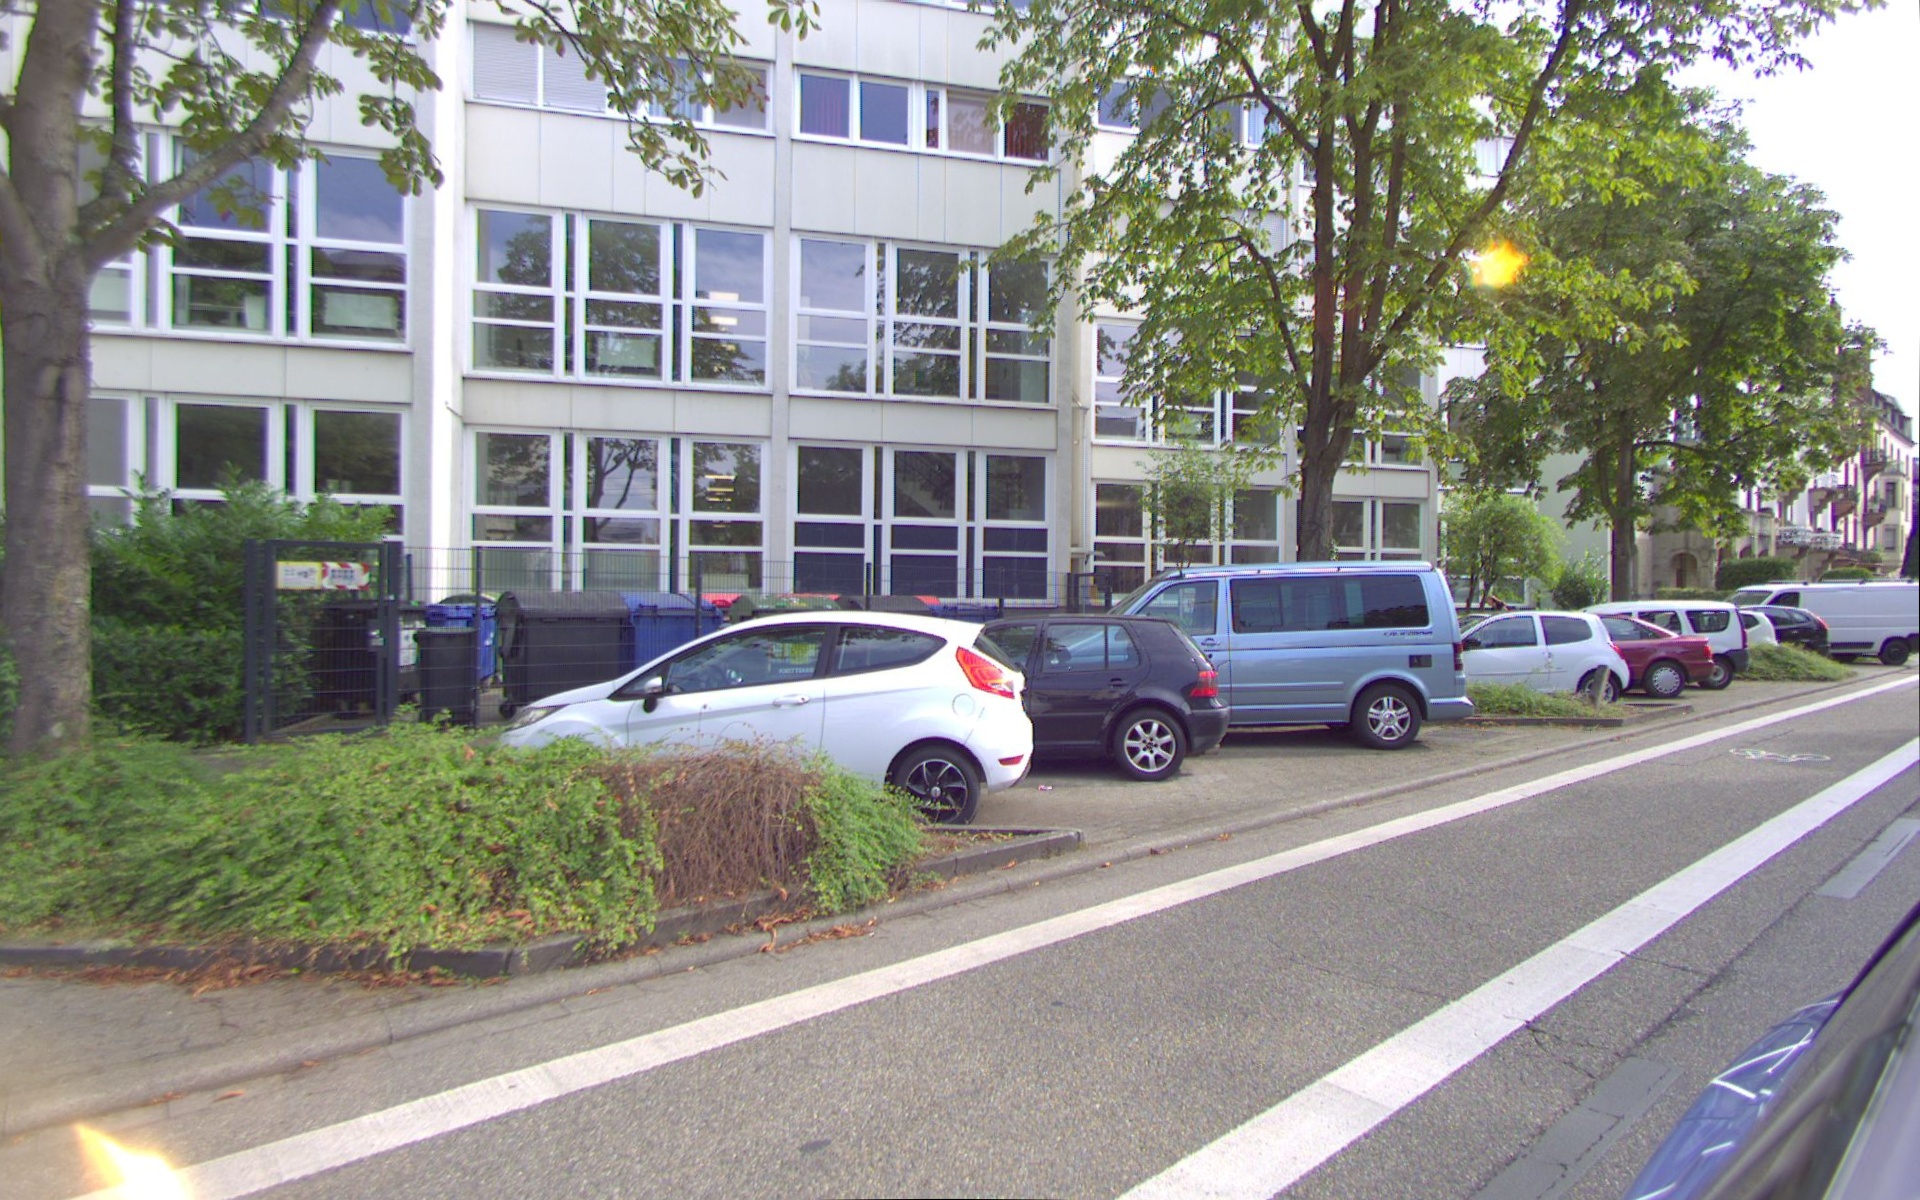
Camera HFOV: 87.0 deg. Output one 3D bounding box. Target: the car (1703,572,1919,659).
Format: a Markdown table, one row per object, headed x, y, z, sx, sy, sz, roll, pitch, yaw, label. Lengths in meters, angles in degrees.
| x | y | z | sx | sy | sz | roll | pitch | yaw | label |
| --- | --- | --- | --- | --- | --- | --- | --- | --- | --- |
| 24.173 | 0.411 | 28.299 | 4.875 | 2.319 | 2.380 | 0 | 0 | 8 | car |

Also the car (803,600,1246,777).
| x | y | z | sx | sy | sz | roll | pitch | yaw | label |
| --- | --- | --- | --- | --- | --- | --- | --- | --- | --- |
| 0.564 | 0.744 | 9.453 | 3.759 | 1.478 | 1.675 | 0 | 0 | 4 | car |

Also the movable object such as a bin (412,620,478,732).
| x | y | z | sx | sy | sz | roll | pitch | yaw | label |
| --- | --- | --- | --- | --- | --- | --- | --- | --- | --- |
| -5.388 | 0.770 | 10.578 | 0.561 | 1.117 | 0.653 | 0 | -1 | -31 | movable object such as a bin |

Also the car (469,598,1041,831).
| x | y | z | sx | sy | sz | roll | pitch | yaw | label |
| --- | --- | --- | --- | --- | --- | --- | --- | --- | --- |
| -1.321 | 0.731 | 7.371 | 3.759 | 1.478 | 1.639 | 0 | 0 | 4 | car |

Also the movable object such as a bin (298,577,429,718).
| x | y | z | sx | sy | sz | roll | pitch | yaw | label |
| --- | --- | --- | --- | --- | --- | --- | --- | --- | --- |
| -6.924 | 0.526 | 11.827 | 1.056 | 1.542 | 1.121 | 0 | -1 | -16 | movable object such as a bin |

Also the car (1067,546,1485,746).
| x | y | z | sx | sy | sz | roll | pitch | yaw | label |
| --- | --- | --- | --- | --- | --- | --- | --- | --- | --- |
| 3.352 | 0.473 | 11.476 | 4.201 | 2.040 | 1.829 | 0 | 0 | 6 | car |

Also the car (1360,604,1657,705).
| x | y | z | sx | sy | sz | roll | pitch | yaw | label |
| --- | --- | --- | --- | --- | --- | --- | --- | --- | --- |
| 8.352 | 0.794 | 15.695 | 3.651 | 1.451 | 1.687 | 0 | 0 | 6 | car |

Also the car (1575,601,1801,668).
| x | y | z | sx | sy | sz | roll | pitch | yaw | label |
| --- | --- | --- | --- | --- | --- | --- | --- | --- | --- |
| 17.215 | 0.786 | 24.089 | 4.020 | 1.530 | 1.687 | 0 | 0 | 6 | car |

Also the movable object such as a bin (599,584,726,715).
| x | y | z | sx | sy | sz | roll | pitch | yaw | label |
| --- | --- | --- | --- | --- | --- | --- | --- | --- | --- |
| -3.696 | 0.578 | 12.562 | 1.192 | 1.527 | 1.071 | 1 | -1 | -39 | movable object such as a bin |

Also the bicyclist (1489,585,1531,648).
| x | y | z | sx | sy | sz | roll | pitch | yaw | label |
| --- | --- | --- | --- | --- | --- | --- | --- | --- | --- |
| 13.539 | 0.402 | 24.913 | 0.787 | 1.488 | 0.648 | 1 | 2 | -42 | bicyclist |

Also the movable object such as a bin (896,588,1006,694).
| x | y | z | sx | sy | sz | roll | pitch | yaw | label |
| --- | --- | --- | --- | --- | --- | --- | --- | --- | --- |
| -0.134 | 0.594 | 15.366 | 1.299 | 1.527 | 1.071 | 1 | -1 | -39 | movable object such as a bin |

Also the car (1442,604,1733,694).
| x | y | z | sx | sy | sz | roll | pitch | yaw | label |
| --- | --- | --- | --- | --- | --- | --- | --- | --- | --- |
| 10.729 | 0.805 | 17.564 | 3.909 | 1.451 | 1.685 | 0 | 0 | 8 | car |

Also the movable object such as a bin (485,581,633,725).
| x | y | z | sx | sy | sz | roll | pitch | yaw | label |
| --- | --- | --- | --- | --- | --- | --- | --- | --- | --- |
| -4.590 | 0.572 | 11.590 | 1.310 | 1.527 | 1.071 | 1 | -1 | -39 | movable object such as a bin |

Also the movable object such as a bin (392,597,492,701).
| x | y | z | sx | sy | sz | roll | pitch | yaw | label |
| --- | --- | --- | --- | --- | --- | --- | --- | --- | --- |
| -7.208 | 0.651 | 14.142 | 1.056 | 1.385 | 1.037 | 0 | -1 | -16 | movable object such as a bin |

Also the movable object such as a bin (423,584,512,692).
| x | y | z | sx | sy | sz | roll | pitch | yaw | label |
| --- | --- | --- | --- | --- | --- | --- | --- | --- | --- |
| -7.496 | 0.563 | 15.471 | 1.056 | 1.582 | 1.037 | 0 | -1 | -16 | movable object such as a bin |

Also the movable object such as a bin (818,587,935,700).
| x | y | z | sx | sy | sz | roll | pitch | yaw | label |
| --- | --- | --- | --- | --- | --- | --- | --- | --- | --- |
| -1.195 | 0.589 | 14.428 | 1.299 | 1.527 | 1.071 | 1 | -1 | -39 | movable object such as a bin |

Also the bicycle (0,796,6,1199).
| x | y | z | sx | sy | sz | roll | pitch | yaw | label |
| --- | --- | --- | --- | --- | --- | --- | --- | --- | --- |
| -2.831 | 0.969 | 1.500 | 2.036 | 0.993 | 0.639 | 0 | 0 | -43 | bicycle |

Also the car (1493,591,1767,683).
| x | y | z | sx | sy | sz | roll | pitch | yaw | label |
| --- | --- | --- | --- | --- | --- | --- | --- | --- | --- |
| 12.767 | 0.678 | 19.489 | 4.036 | 1.689 | 1.687 | 0 | 0 | 5 | car |

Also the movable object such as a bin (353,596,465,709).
| x | y | z | sx | sy | sz | roll | pitch | yaw | label |
| --- | --- | --- | --- | --- | --- | --- | --- | --- | --- |
| -7.066 | 0.643 | 13.047 | 1.056 | 1.385 | 1.037 | 0 | -1 | -16 | movable object such as a bin |

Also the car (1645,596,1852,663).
| x | y | z | sx | sy | sz | roll | pitch | yaw | label |
| --- | --- | --- | --- | --- | --- | --- | --- | --- | --- |
| 20.267 | 0.727 | 26.152 | 3.891 | 1.669 | 1.687 | 0 | 0 | 6 | car |

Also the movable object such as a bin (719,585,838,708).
| x | y | z | sx | sy | sz | roll | pitch | yaw | label |
| --- | --- | --- | --- | --- | --- | --- | --- | --- | --- |
| -2.402 | 0.582 | 13.414 | 1.192 | 1.527 | 1.071 | 1 | -1 | -39 | movable object such as a bin |
